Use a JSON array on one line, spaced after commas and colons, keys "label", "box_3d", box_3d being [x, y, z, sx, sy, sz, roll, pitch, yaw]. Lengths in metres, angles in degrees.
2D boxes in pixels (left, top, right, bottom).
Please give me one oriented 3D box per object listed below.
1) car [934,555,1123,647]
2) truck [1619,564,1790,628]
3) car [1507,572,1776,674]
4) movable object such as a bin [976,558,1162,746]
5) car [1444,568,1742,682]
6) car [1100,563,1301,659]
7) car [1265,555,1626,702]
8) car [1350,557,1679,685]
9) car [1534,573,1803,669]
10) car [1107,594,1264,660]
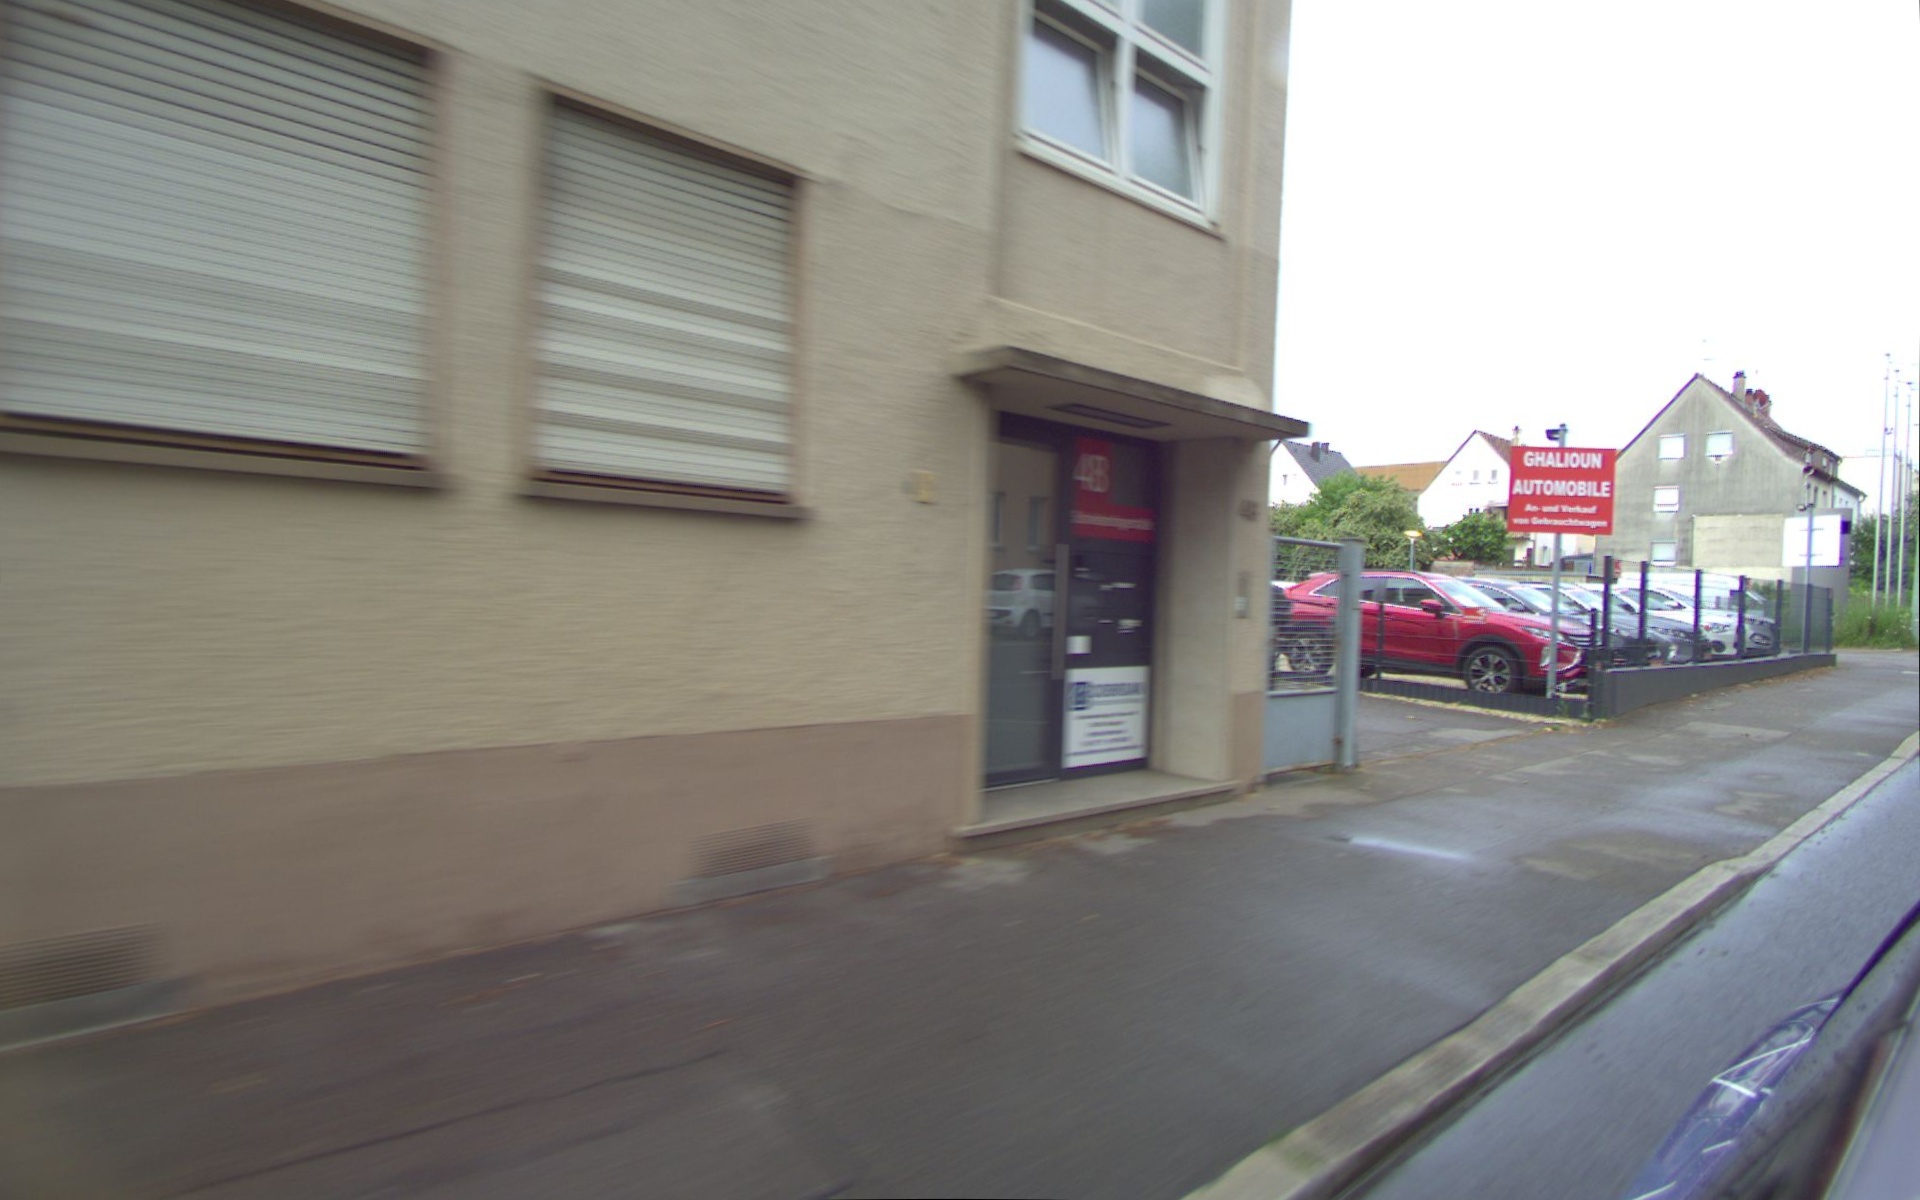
[{"label": "car", "box_3d": [1.312, -0.005, 20.672, 1.741, 1.704, 3.777, -1, 1, -39]}, {"label": "truck", "box_3d": [33.135, -0.185, 45.202, 2.008, 2.670, 5.855, -1, 1, -40]}, {"label": "car", "box_3d": [12.958, 0.385, 19.422, 1.760, 1.746, 3.956, -1, 0, -40]}, {"label": "movable object such as a bin", "box_3d": [0.977, 0.400, 9.207, 1.092, 1.527, 1.237, -1, 4, -41]}, {"label": "car", "box_3d": [11.003, 0.362, 17.816, 1.837, 1.758, 4.074, -1, 1, -40]}, {"label": "car", "box_3d": [4.394, 0.133, 18.321, 3.565, 1.549, 1.811, -2, 1, -41]}, {"label": "car", "box_3d": [6.686, 0.312, 14.318, 1.837, 1.758, 4.236, -1, 1, -40]}, {"label": "car", "box_3d": [8.706, 0.261, 16.187, 1.837, 1.758, 4.236, -1, 1, -40]}, {"label": "car", "box_3d": [14.820, 0.360, 21.368, 1.965, 1.790, 4.311, -1, 1, -40]}, {"label": "car", "box_3d": [5.748, 0.639, 26.189, 1.726, 1.551, 3.774, -1, 0, -36]}]
